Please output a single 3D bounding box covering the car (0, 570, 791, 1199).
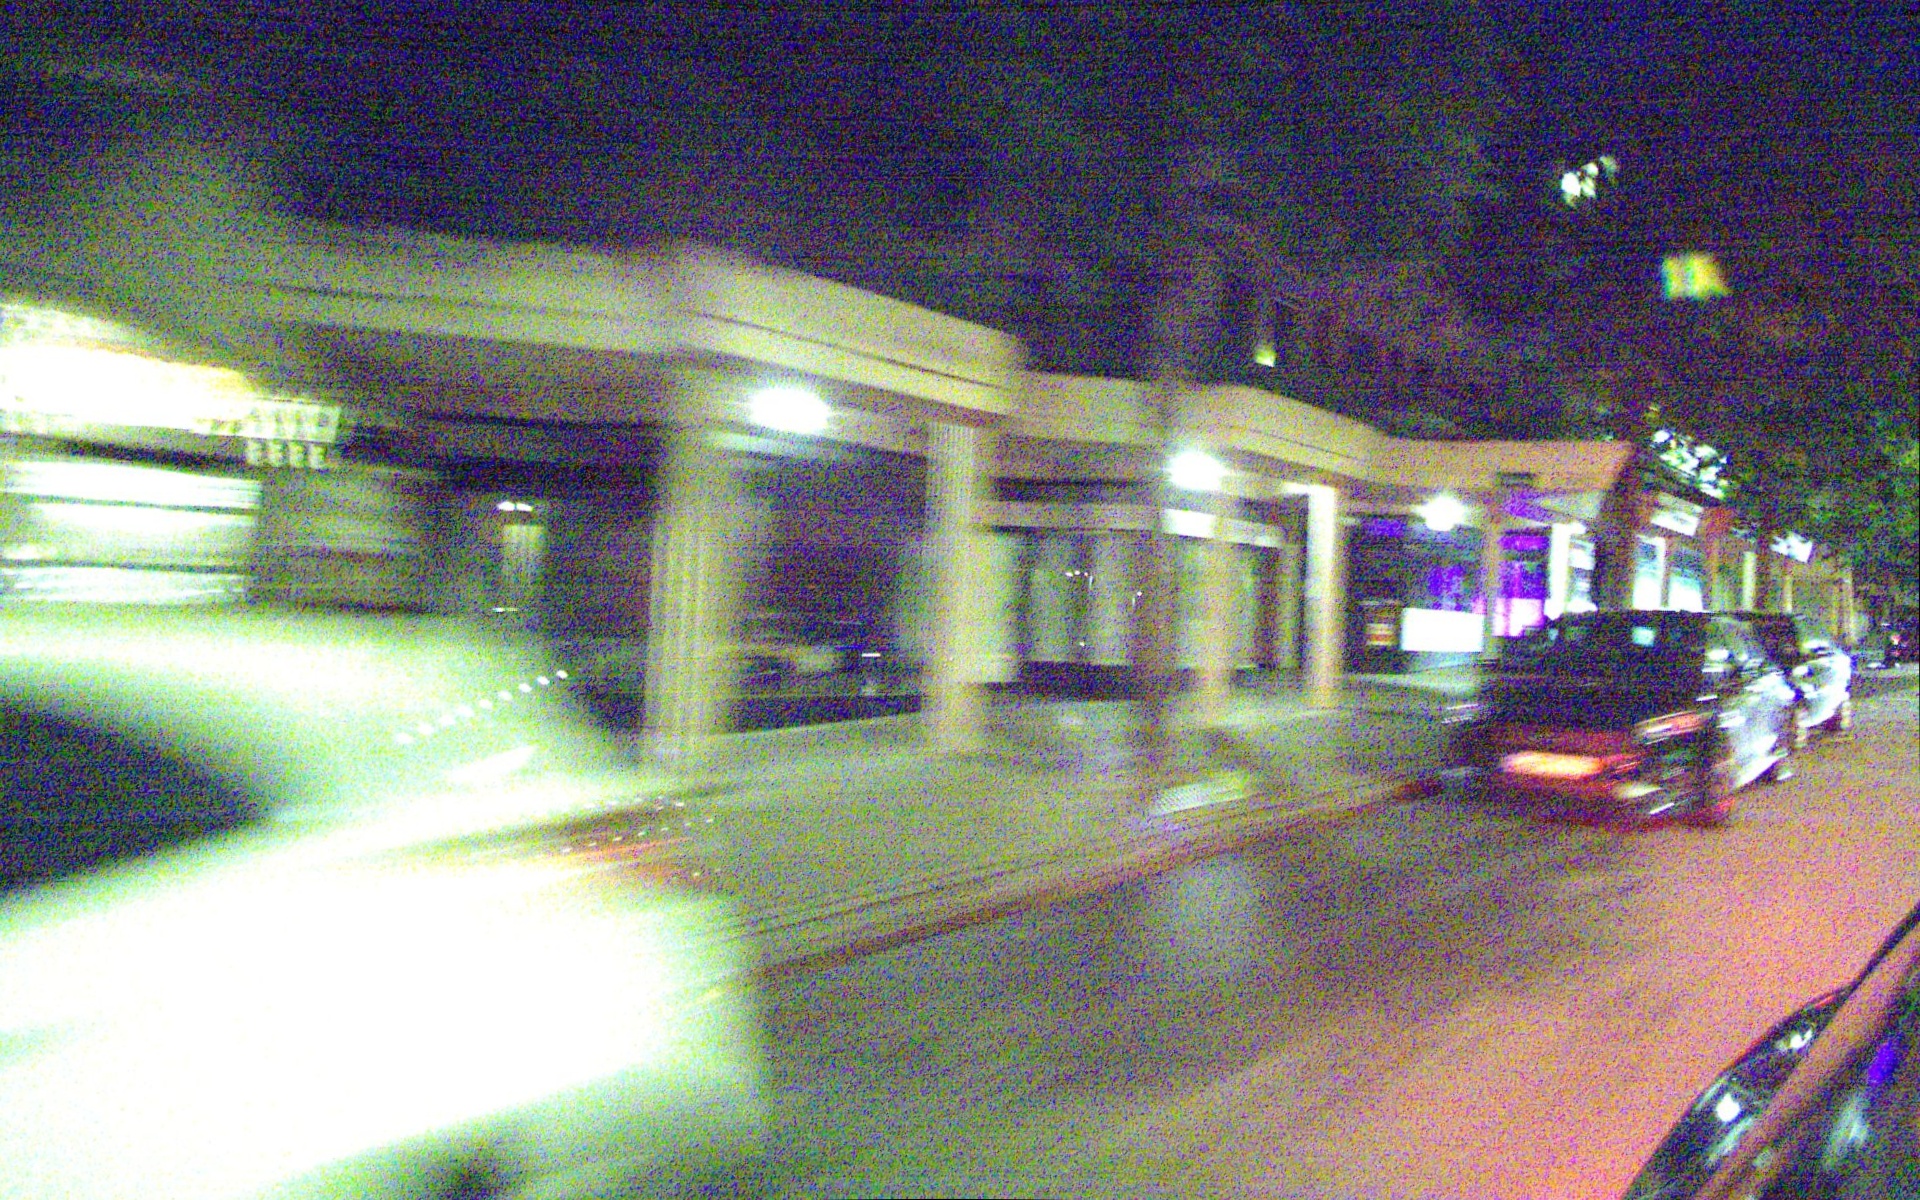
[{"bbox_3d":[-2.276,0.714,1.480,3.710,1.485,1.641,0,-1,-41],"label":"car"}]

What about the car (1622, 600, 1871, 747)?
[{"bbox_3d":[9.056,0.711,11.575,3.456,1.416,1.602,0,0,-41],"label":"car"}]

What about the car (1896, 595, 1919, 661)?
[{"bbox_3d":[23.226,0.624,23.677,3.457,1.492,1.654,0,0,-42],"label":"car"}]

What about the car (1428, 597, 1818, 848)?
[{"bbox_3d":[5.363,0.721,7.975,3.932,1.465,1.678,0,1,-43],"label":"car"}]
